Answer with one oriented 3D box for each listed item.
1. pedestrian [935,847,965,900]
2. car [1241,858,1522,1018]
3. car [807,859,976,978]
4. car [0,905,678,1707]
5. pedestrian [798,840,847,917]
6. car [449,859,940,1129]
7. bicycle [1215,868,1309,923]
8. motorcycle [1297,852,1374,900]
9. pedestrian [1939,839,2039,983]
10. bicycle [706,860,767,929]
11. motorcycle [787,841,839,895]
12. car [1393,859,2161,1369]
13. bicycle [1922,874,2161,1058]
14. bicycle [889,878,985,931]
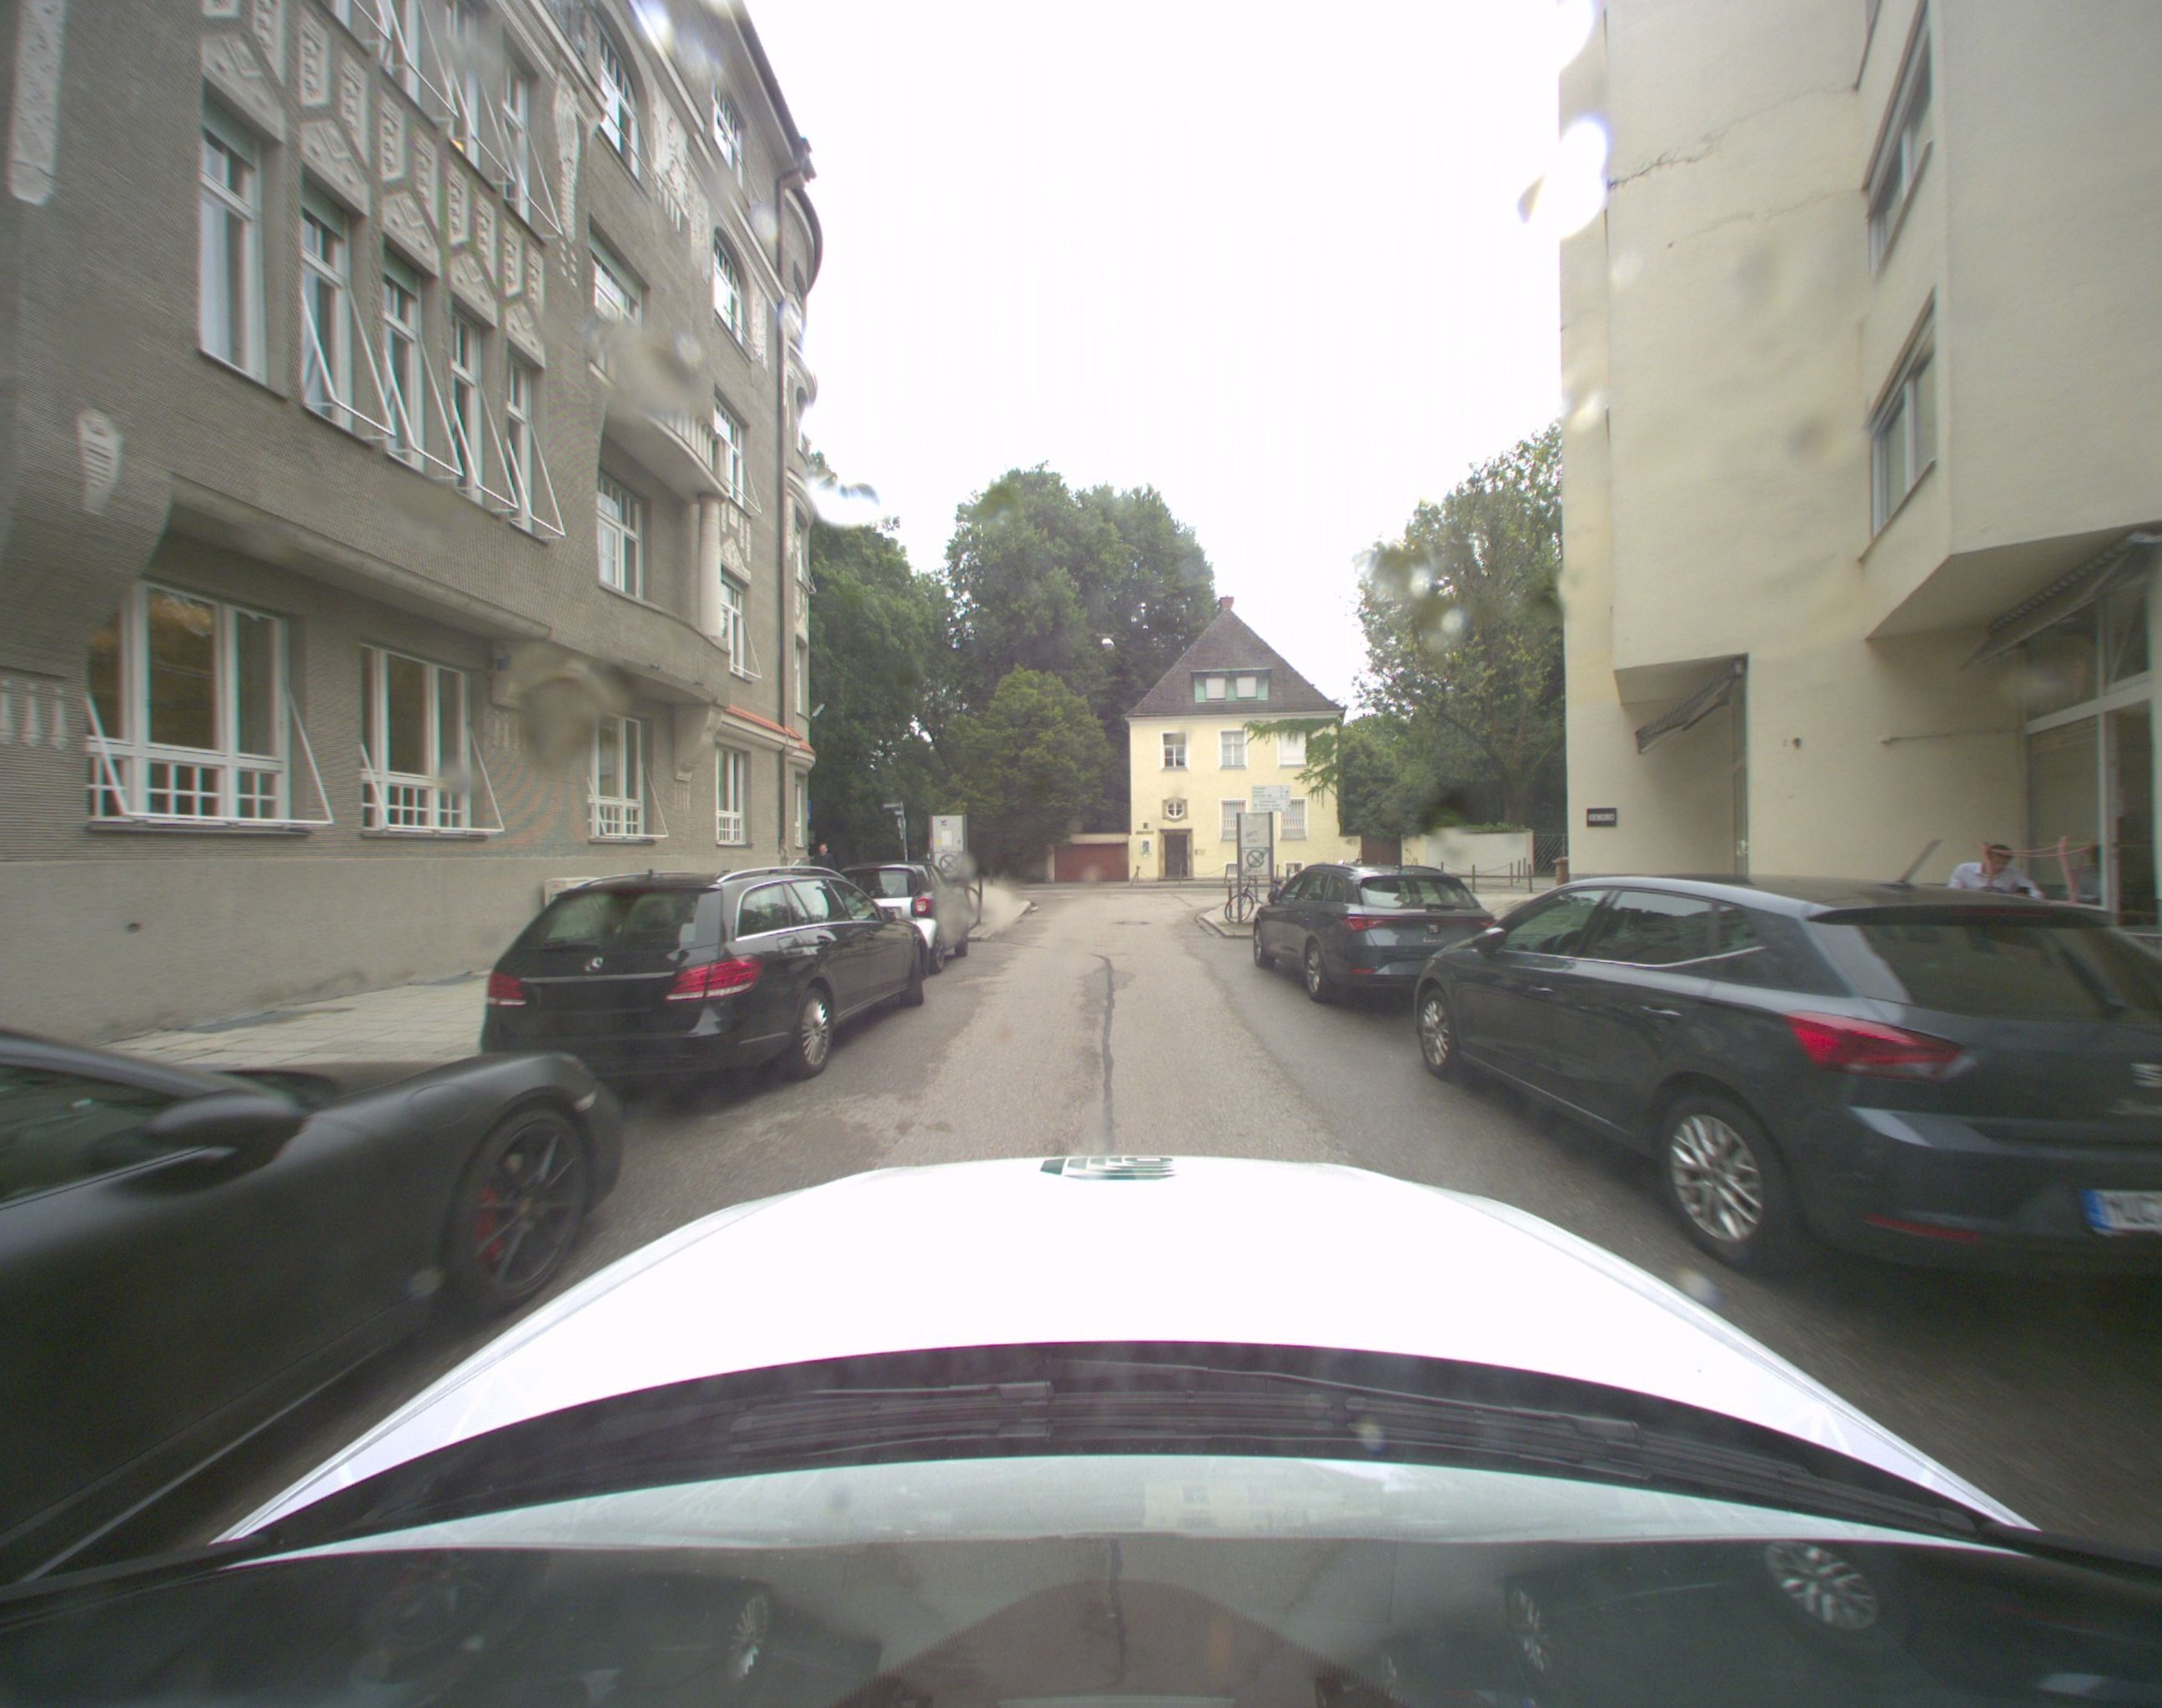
[{"bbox_3d":[-4.134,0.608,25.703,0.814,1.642,0.721,0,0,-23],"label":"pedestrian"},{"bbox_3d":[3.248,0.787,9.868,1.687,1.471,4.610,0,0,0],"label":"car"},{"bbox_3d":[-2.666,0.849,12.104,1.697,1.515,2.913,-1,0,2],"label":"car"},{"bbox_3d":[-2.828,0.912,1.714,1.748,1.331,4.099,-1,0,3],"label":"car"},{"bbox_3d":[-6.180,0.577,19.515,0.835,1.787,0.937,0,0,4],"label":"pedestrian"},{"bbox_3d":[-2.659,0.832,7.065,1.748,1.515,4.712,-1,0,4],"label":"car"},{"bbox_3d":[3.806,0.871,17.166,1.774,1.085,0.670,-2,1,28],"label":"bicycle"},{"bbox_3d":[7.414,0.613,23.736,2.086,1.356,0.811,0,0,-22],"label":"motorcycle"},{"bbox_3d":[9.305,0.556,8.368,0.526,1.398,0.678,-1,-1,34],"label":"pedestrian"},{"bbox_3d":[-7.149,0.812,16.960,0.617,1.349,1.673,0,0,-3],"label":"bicycle"},{"bbox_3d":[-7.429,0.377,22.679,0.733,1.441,2.147,0,0,0],"label":"motorcycle"},{"bbox_3d":[3.187,0.773,4.321,1.628,1.471,3.855,0,0,1],"label":"car"},{"bbox_3d":[6.946,0.726,5.984,0.743,1.032,1.811,-3,1,37],"label":"bicycle"},{"bbox_3d":[-2.836,0.990,16.139,1.796,1.015,0.540,1,0,0],"label":"bicycle"}]
